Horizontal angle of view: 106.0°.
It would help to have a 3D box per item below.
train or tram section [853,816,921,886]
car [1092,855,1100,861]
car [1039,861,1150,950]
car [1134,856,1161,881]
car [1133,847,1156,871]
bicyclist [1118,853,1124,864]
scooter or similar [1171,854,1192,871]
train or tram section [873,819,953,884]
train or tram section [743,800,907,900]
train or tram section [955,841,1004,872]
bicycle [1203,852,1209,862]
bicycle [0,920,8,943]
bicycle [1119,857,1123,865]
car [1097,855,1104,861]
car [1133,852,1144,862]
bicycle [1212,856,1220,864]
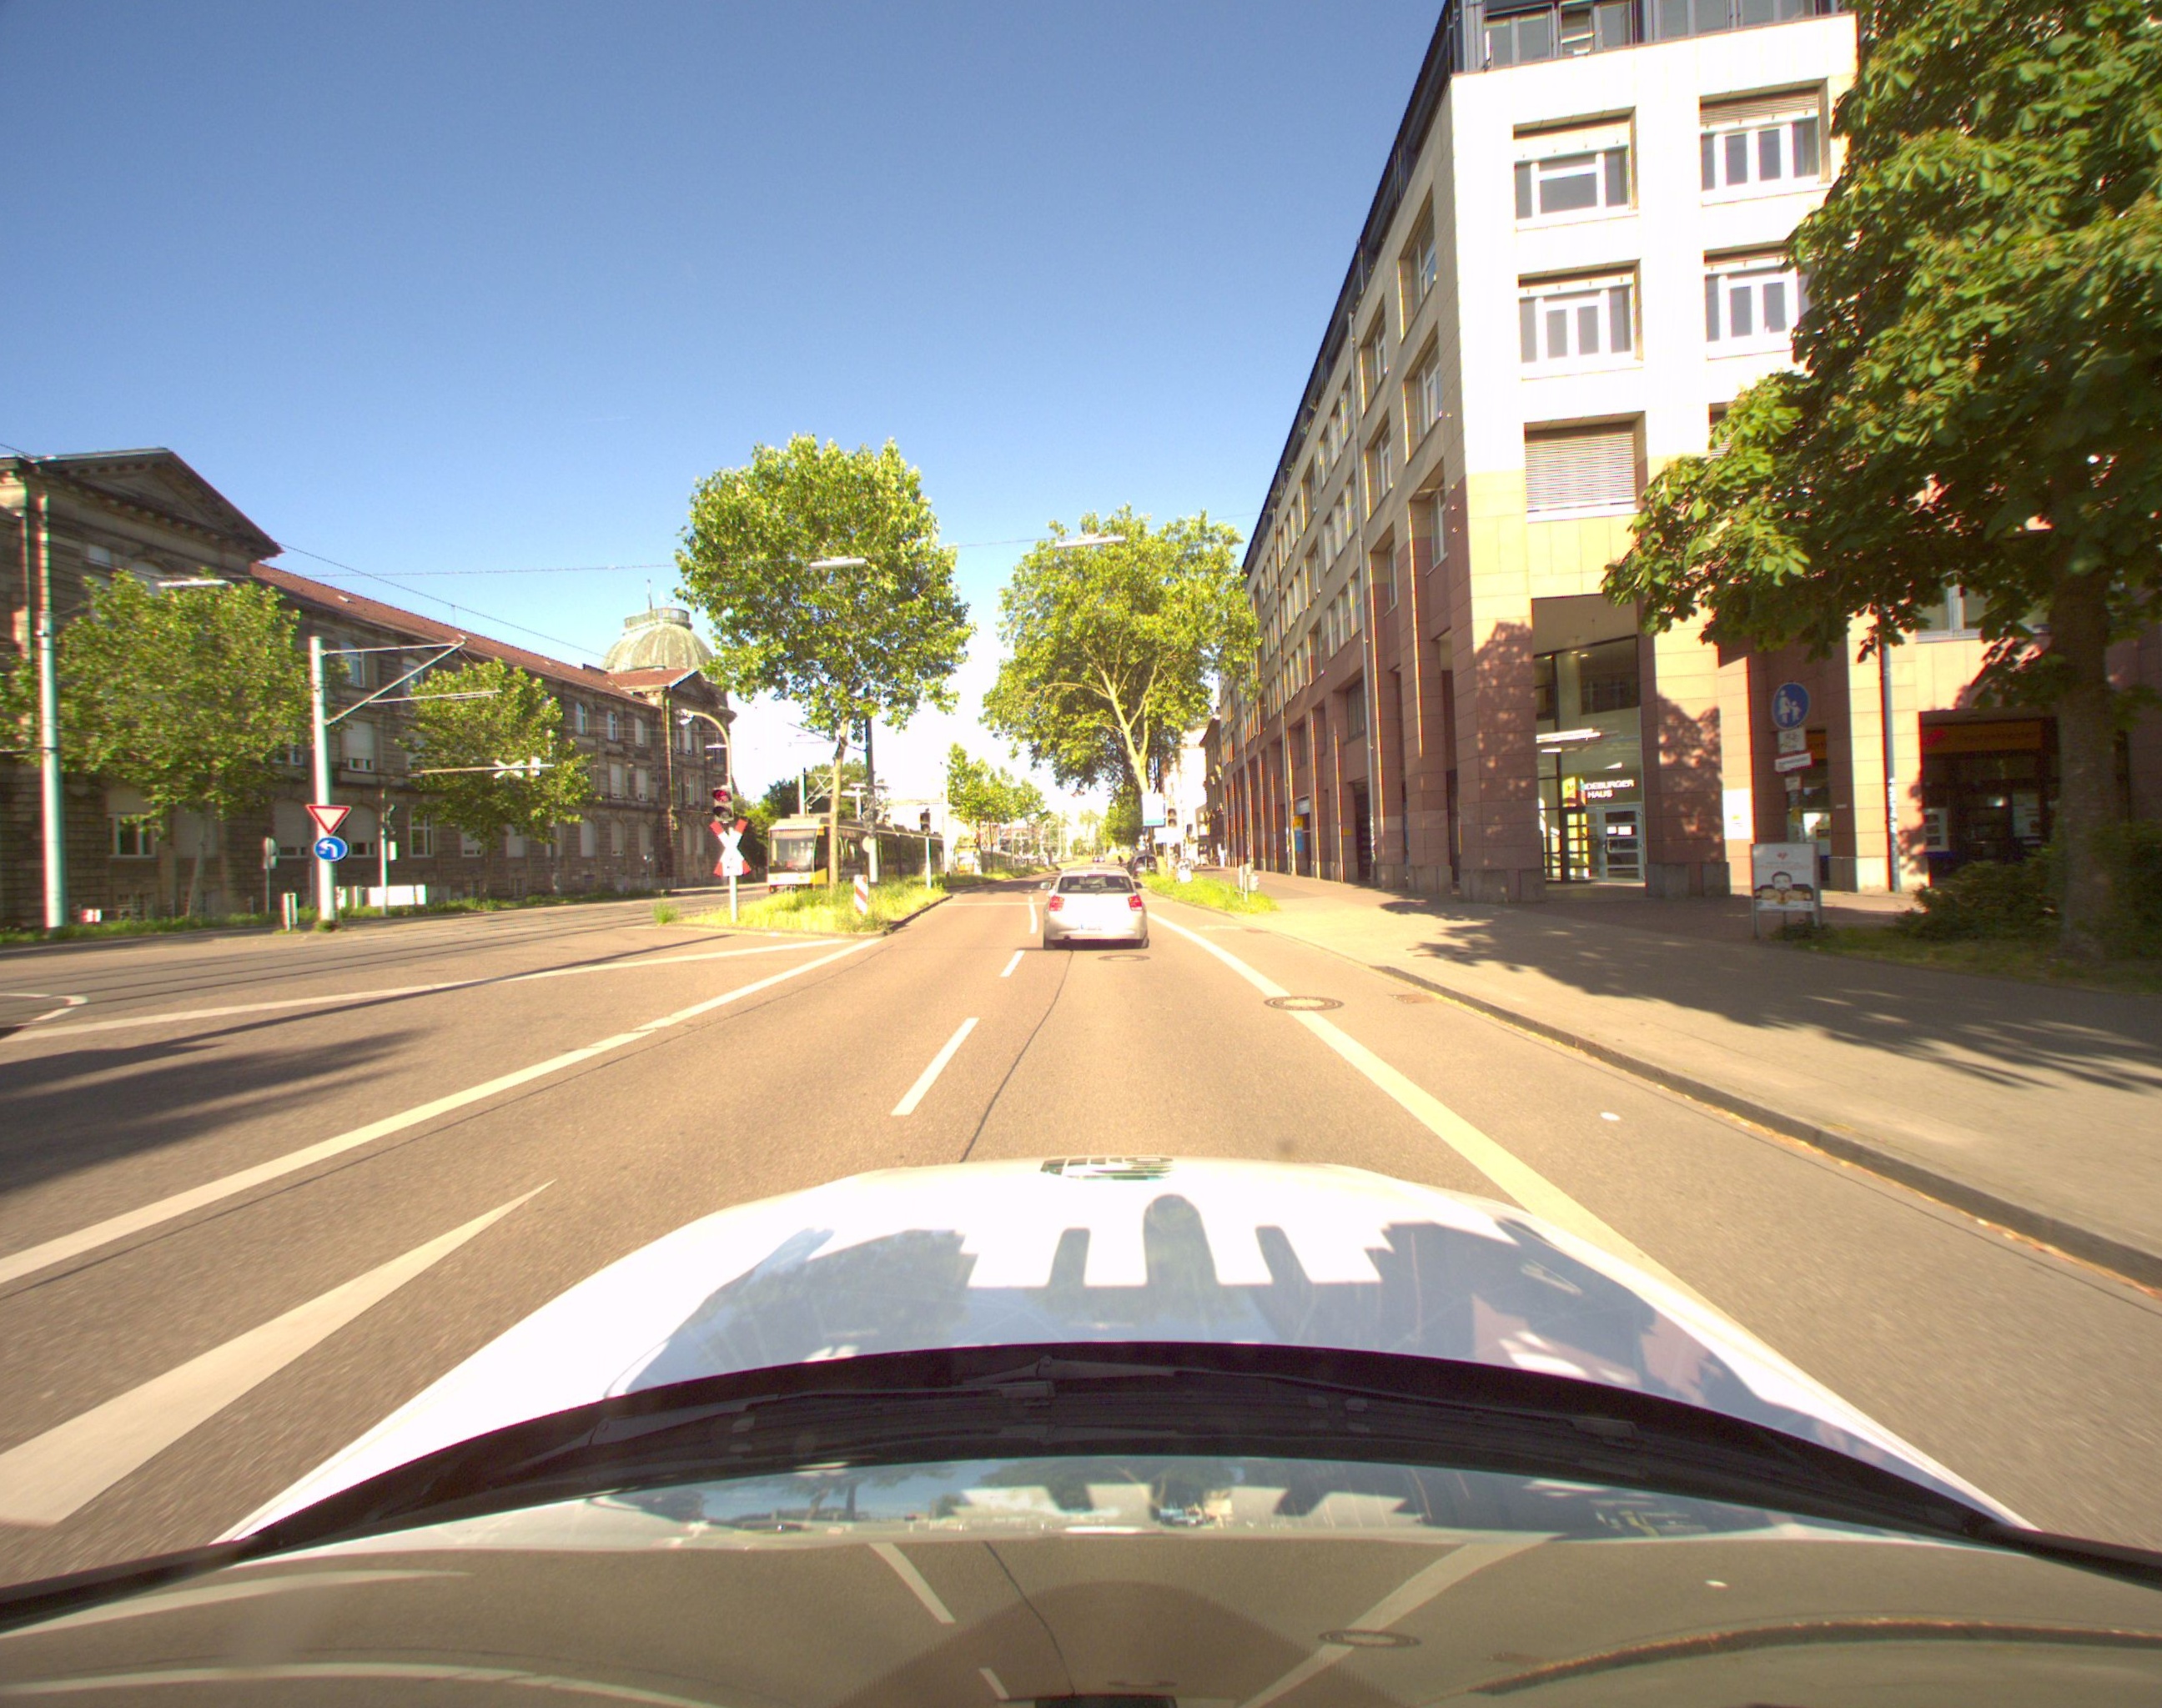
[{"bbox_3d":[-11.204,-0.152,47.377,2.945,3.897,3.866,0,0,1],"label":"train or tram section"},{"bbox_3d":[3.458,0.901,185.011,1.720,1.470,4.411,-2,0,1],"label":"car"},{"bbox_3d":[0.268,0.848,15.130,1.791,1.415,4.001,0,0,1],"label":"car"},{"bbox_3d":[4.384,0.903,53.553,1.660,1.570,4.285,0,0,5],"label":"car"},{"bbox_3d":[5.412,0.440,70.223,1.848,2.014,4.727,0,0,3],"label":"car"},{"bbox_3d":[5.293,0.580,108.407,0.782,1.531,0.895,0,0,3],"label":"bicyclist"},{"bbox_3d":[7.602,0.625,61.850,1.534,1.237,0.449,-2,0,3],"label":"scooter or similar"},{"bbox_3d":[-11.044,-0.125,54.718,2.942,3.897,10.804,0,0,1],"label":"train or tram section"},{"bbox_3d":[-11.338,-0.144,38.324,2.918,3.812,14.275,0,0,1],"label":"train or tram section"},{"bbox_3d":[-12.679,0.217,103.889,2.952,3.483,21.225,-1,0,2],"label":"train or tram section"},{"bbox_3d":[13.158,0.345,85.973,0.412,0.997,1.884,-2,0,3],"label":"bicycle"},{"bbox_3d":[-34.718,2.457,25.123,0.519,0.722,1.913,-1,0,31],"label":"bicycle"},{"bbox_3d":[5.268,0.969,108.329,0.497,1.088,1.999,0,0,3],"label":"bicycle"},{"bbox_3d":[4.645,0.894,193.038,1.637,1.421,4.003,-1,0,3],"label":"car"},{"bbox_3d":[9.086,0.479,128.894,1.687,1.502,3.804,-4,0,3],"label":"car"},{"bbox_3d":[13.010,0.574,78.526,0.546,0.773,1.664,-4,0,3],"label":"bicycle"}]
